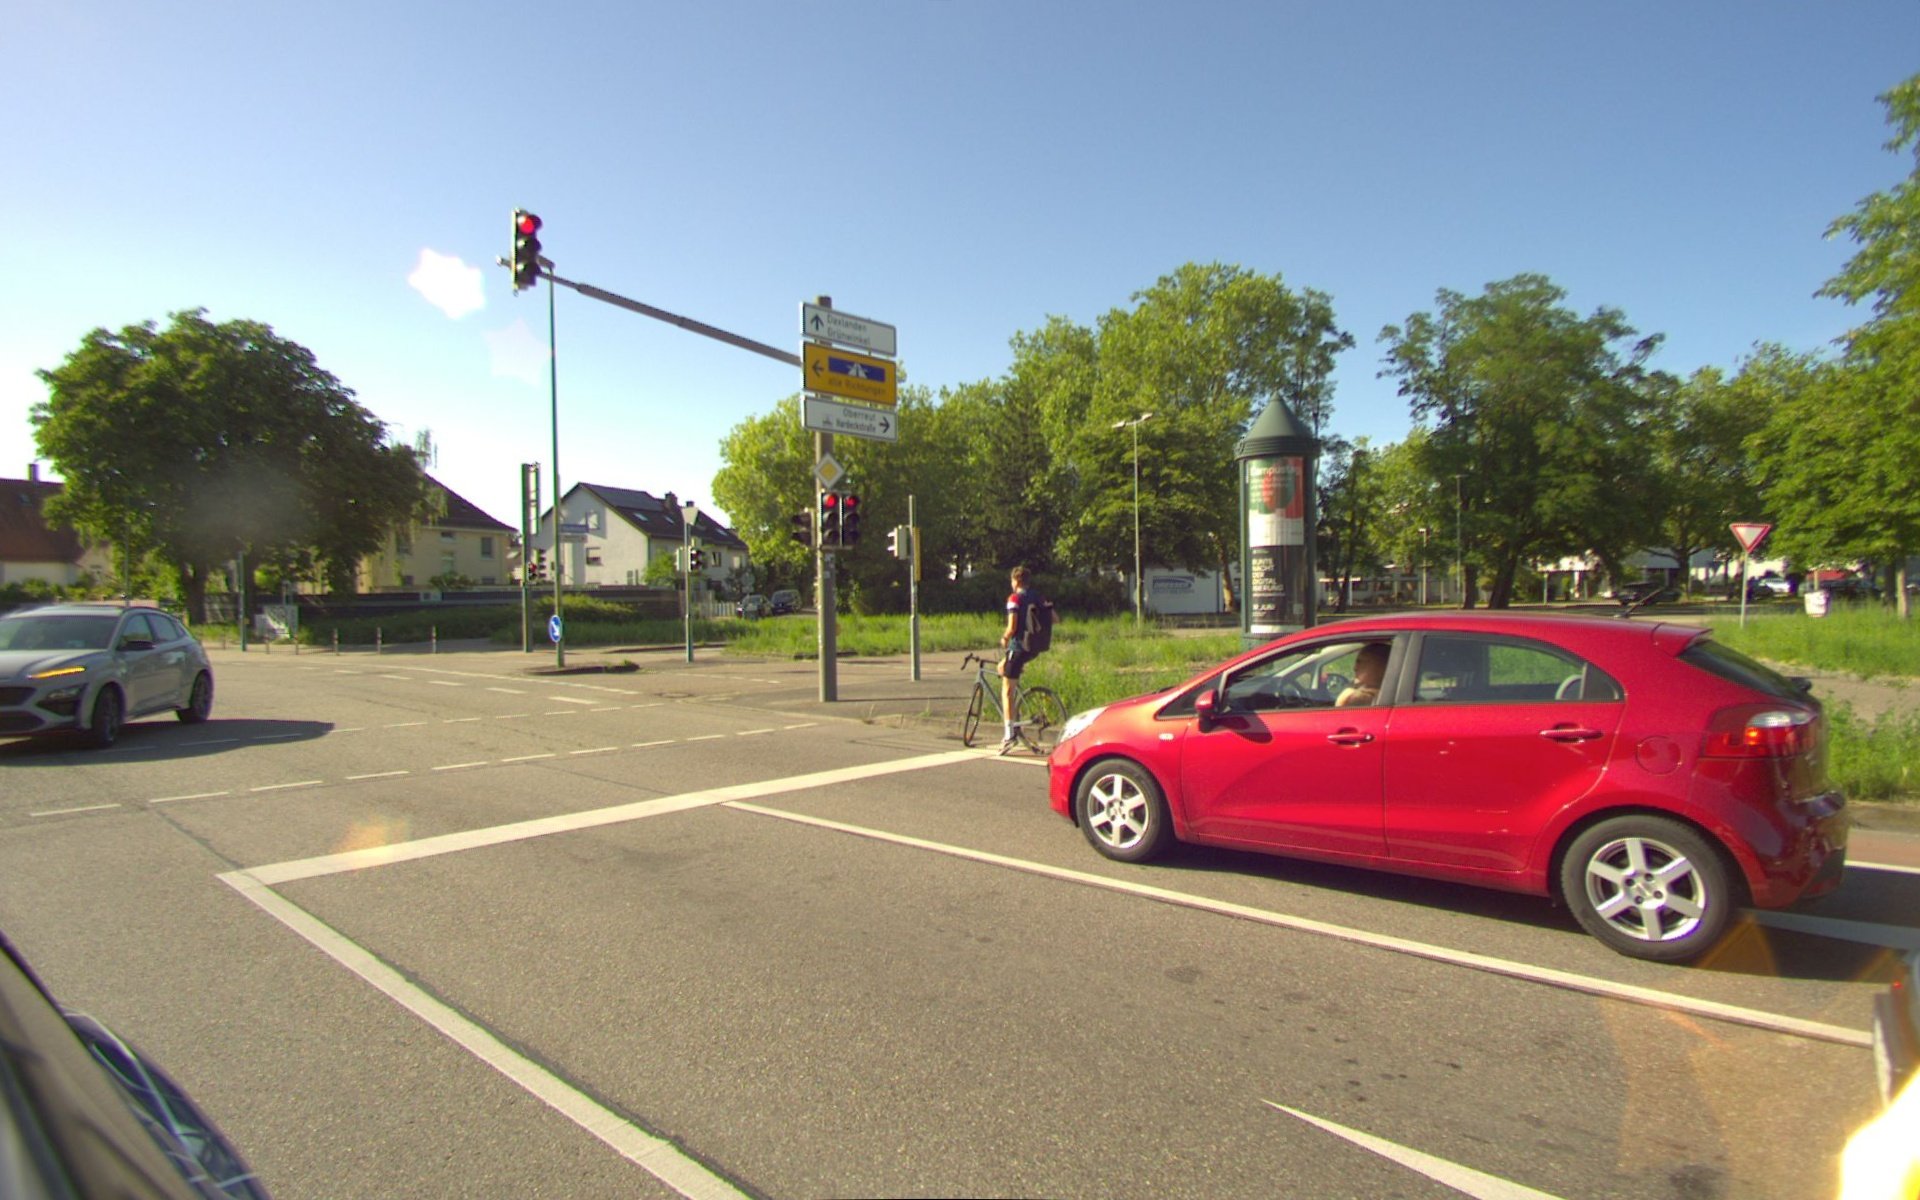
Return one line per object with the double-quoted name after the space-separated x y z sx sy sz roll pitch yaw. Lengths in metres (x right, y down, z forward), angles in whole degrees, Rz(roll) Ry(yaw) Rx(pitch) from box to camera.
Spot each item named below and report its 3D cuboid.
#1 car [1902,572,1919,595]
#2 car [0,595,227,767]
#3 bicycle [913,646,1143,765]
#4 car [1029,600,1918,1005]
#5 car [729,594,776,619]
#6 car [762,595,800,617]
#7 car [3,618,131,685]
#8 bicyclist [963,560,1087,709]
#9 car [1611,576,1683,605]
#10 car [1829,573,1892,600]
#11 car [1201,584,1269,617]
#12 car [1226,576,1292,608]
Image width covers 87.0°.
65.431 -1.117 68.068 3.423 1.451 1.879 -2 2 -25 "car"
-10.475 0.826 11.908 1.687 1.658 4.067 -2 1 -16 "car"
0.646 1.005 10.273 2.196 1.024 0.927 -2 0 42 "bicycle"
2.465 0.742 5.527 3.888 1.425 1.766 -1 -1 41 "car"
-13.753 0.424 67.278 1.975 1.568 3.994 -2 0 5 "car"
-13.909 0.442 78.725 1.938 1.679 3.994 -1 0 5 "car"
-22.748 1.252 25.939 1.832 1.481 4.150 -1 0 -33 "car"
0.665 0.328 10.237 0.822 1.412 0.923 -2 -1 41 "bicyclist"
45.254 -0.626 66.683 3.931 1.809 2.016 -2 0 -22 "car"
59.477 -0.891 66.845 3.931 1.631 1.744 -2 2 -25 "car"
18.151 0.042 66.900 1.967 2.029 4.010 -2 0 -34 "car"
20.823 -0.551 70.573 1.967 2.029 4.010 -2 0 -34 "car"
